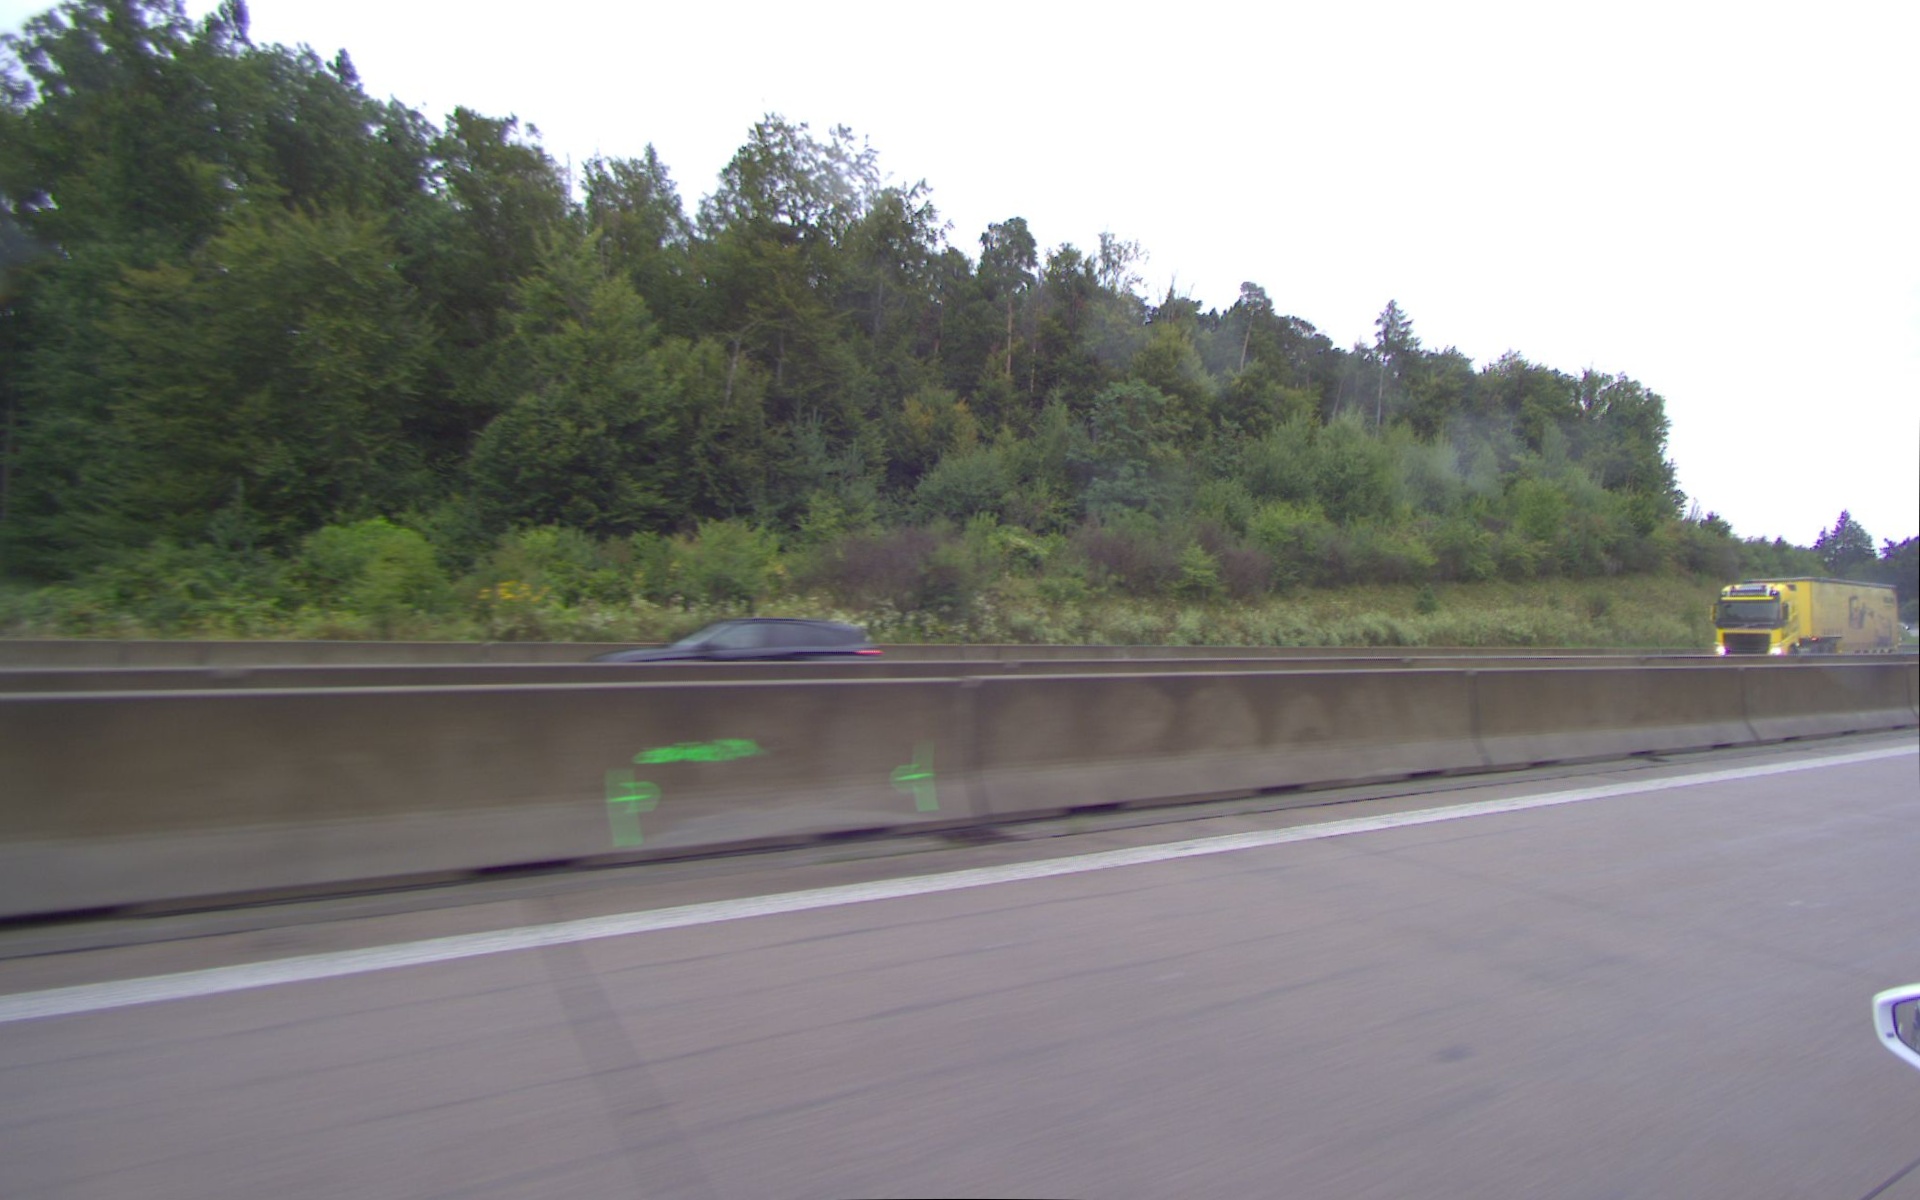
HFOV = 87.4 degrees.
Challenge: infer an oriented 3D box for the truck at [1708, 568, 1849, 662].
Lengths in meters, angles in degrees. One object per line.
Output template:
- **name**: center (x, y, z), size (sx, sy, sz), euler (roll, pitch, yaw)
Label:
- **truck**: center (37.162, 0.716, 45.520), size (8.038, 3.926, 3.005), euler (2, -1, -36)

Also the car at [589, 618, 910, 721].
- **car**: center (-3.184, 1.003, 15.502), size (4.512, 1.351, 1.793), euler (2, 0, -31)

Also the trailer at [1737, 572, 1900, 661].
- **trailer**: center (42.373, 0.877, 49.320), size (13.567, 3.926, 2.994), euler (2, -1, -36)
